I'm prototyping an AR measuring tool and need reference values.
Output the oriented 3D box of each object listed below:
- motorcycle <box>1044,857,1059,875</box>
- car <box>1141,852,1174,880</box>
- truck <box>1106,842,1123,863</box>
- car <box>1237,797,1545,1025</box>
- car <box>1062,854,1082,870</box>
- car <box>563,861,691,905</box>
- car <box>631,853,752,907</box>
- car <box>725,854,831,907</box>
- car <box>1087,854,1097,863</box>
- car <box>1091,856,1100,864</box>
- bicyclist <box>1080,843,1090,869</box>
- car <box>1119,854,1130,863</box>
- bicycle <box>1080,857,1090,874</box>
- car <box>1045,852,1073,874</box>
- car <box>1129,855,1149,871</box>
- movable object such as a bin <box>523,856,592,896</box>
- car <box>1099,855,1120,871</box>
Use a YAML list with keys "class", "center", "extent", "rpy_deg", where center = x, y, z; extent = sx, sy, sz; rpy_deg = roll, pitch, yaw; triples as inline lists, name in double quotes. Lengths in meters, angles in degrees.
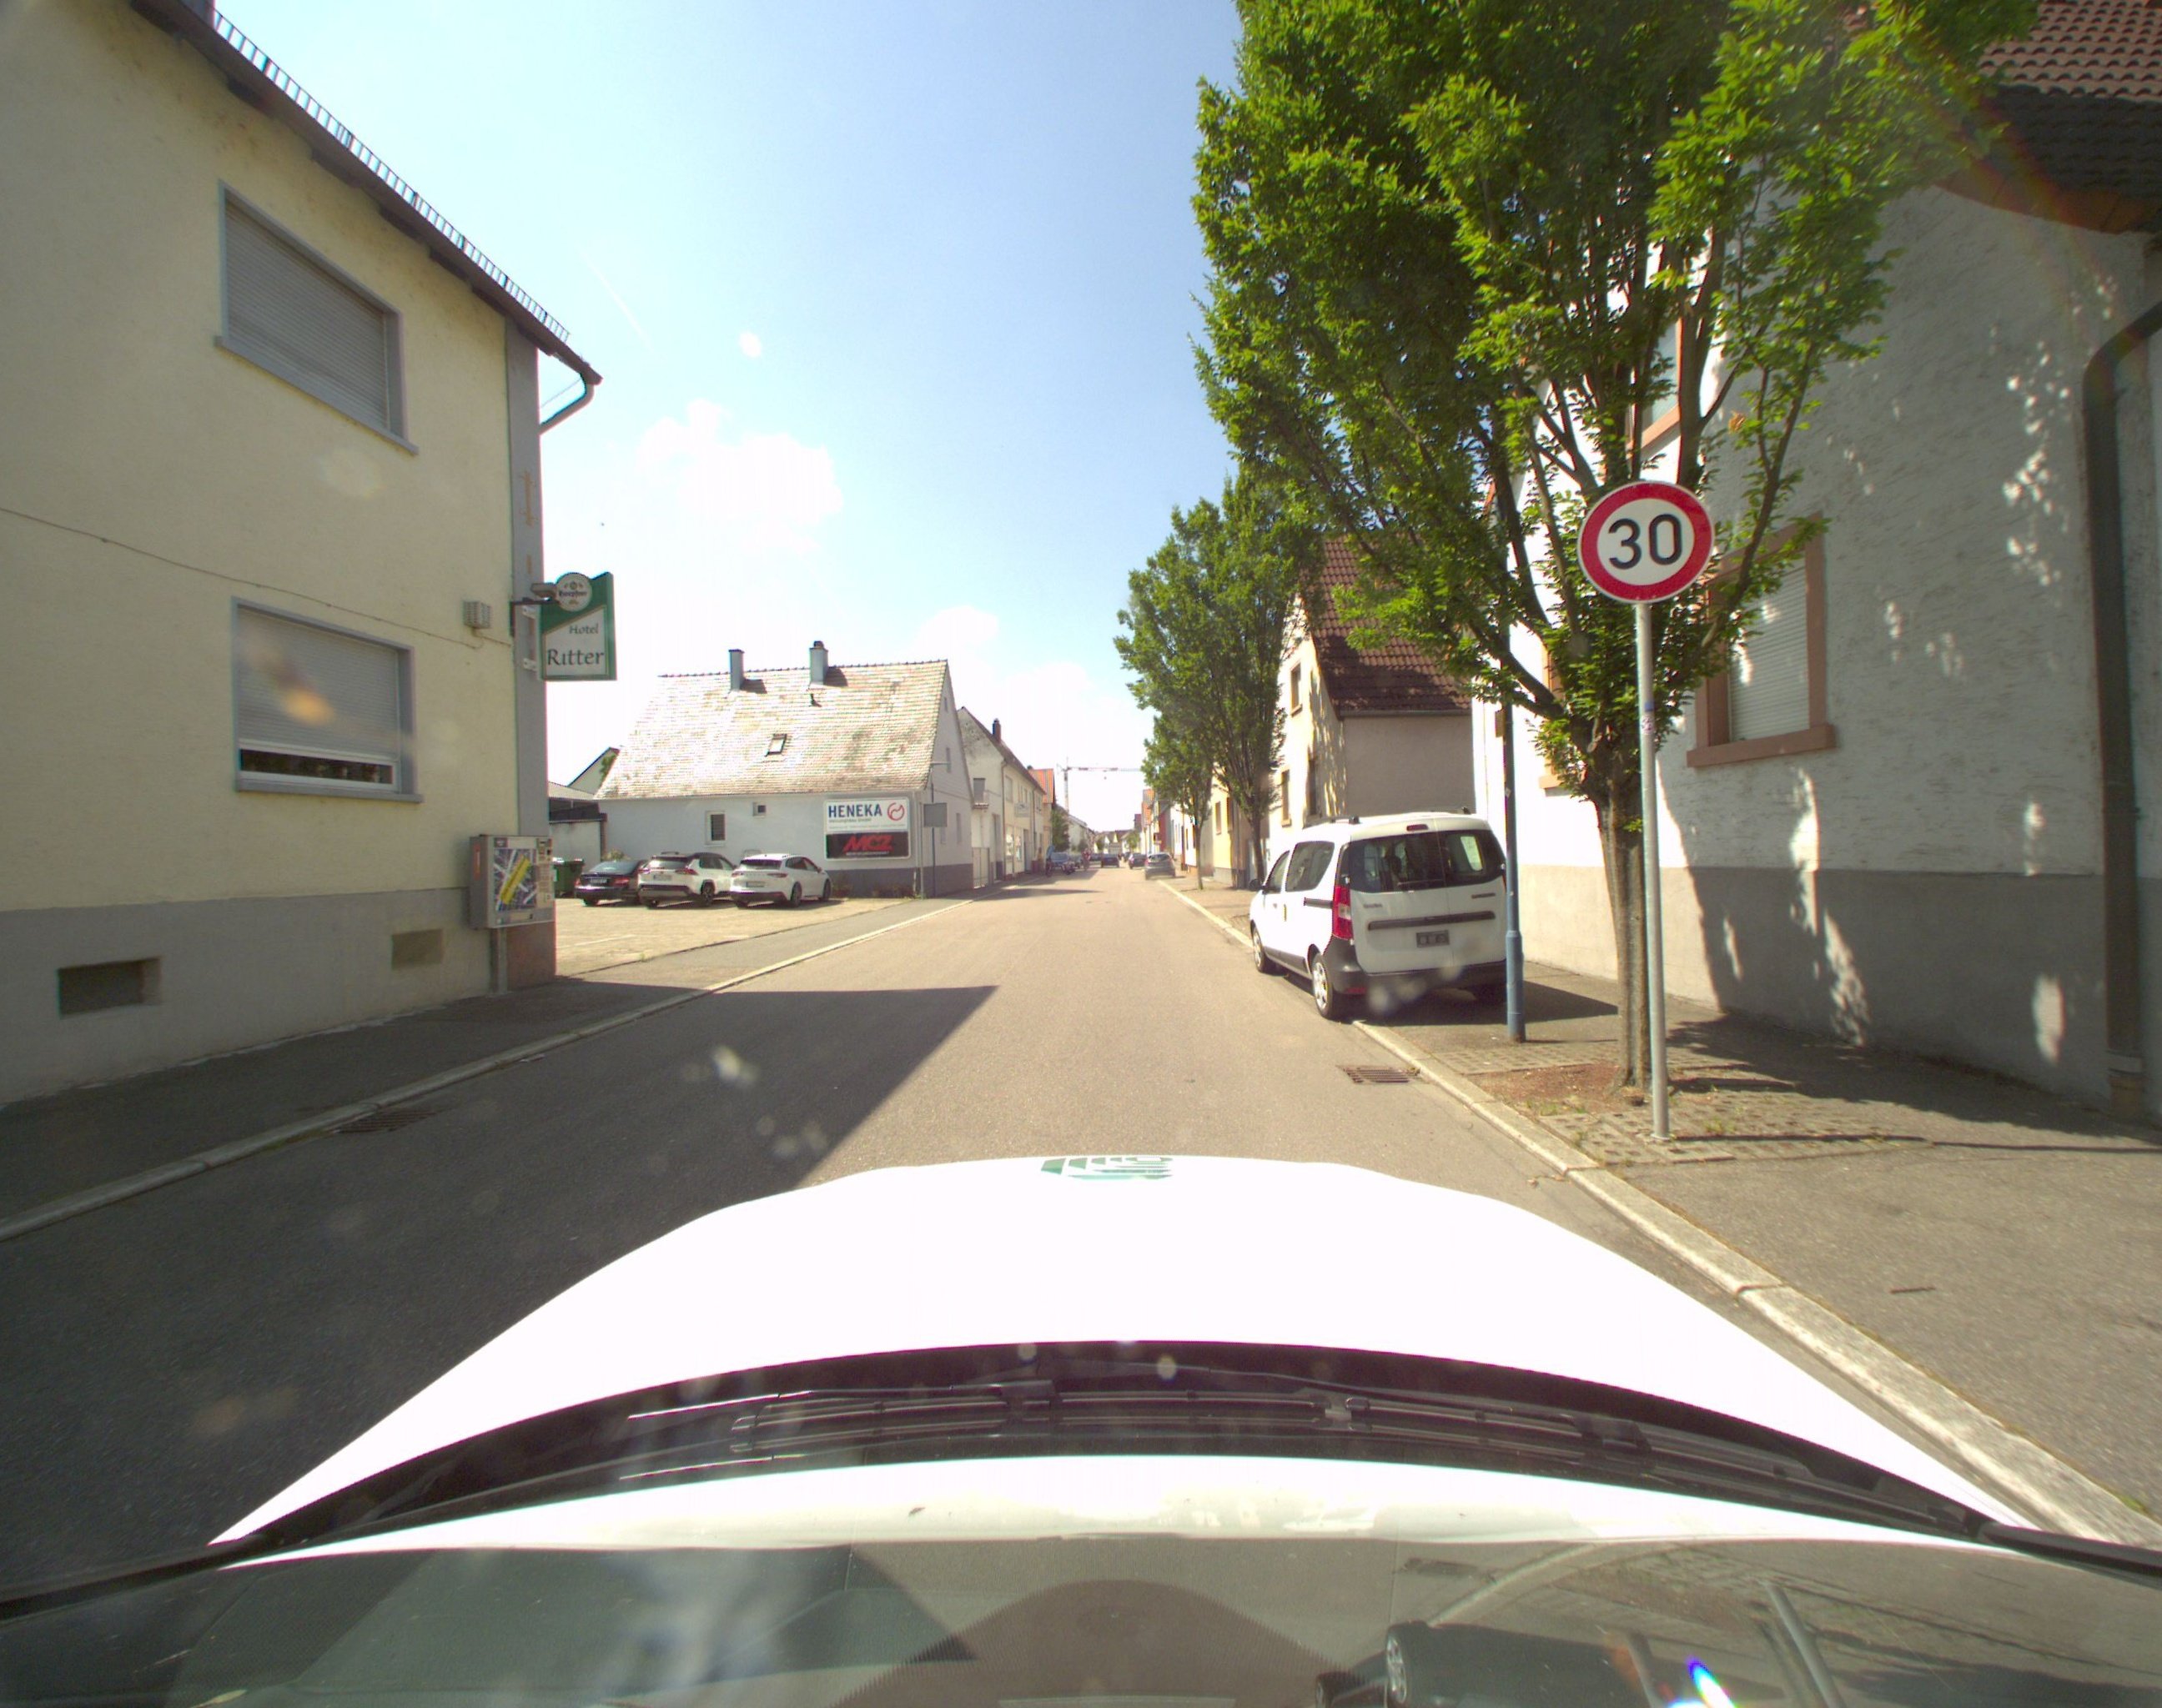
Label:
- class: "motorcycle"
  center: [-2.019, 0.830, 56.176]
  extent: [0.843, 1.170, 2.469]
  rpy_deg: [0, -1, 1]
- class: "car"
  center: [4.253, 0.628, 45.525]
  extent: [1.712, 1.461, 4.161]
  rpy_deg: [-1, 0, 4]
- class: "truck"
  center: [6.851, -0.277, 164.747]
  extent: [3.131, 4.250, 9.310]
  rpy_deg: [0, -1, 4]
- class: "car"
  center: [2.951, 0.467, 8.787]
  extent: [1.714, 1.790, 4.144]
  rpy_deg: [-3, 0, 1]
- class: "car"
  center: [-0.918, 0.841, 84.979]
  extent: [1.802, 1.589, 4.001]
  rpy_deg: [-1, 0, 2]
- class: "car"
  center: [-14.442, 0.878, 26.201]
  extent: [1.714, 1.281, 4.199]
  rpy_deg: [0, 0, 1]
- class: "car"
  center: [-12.034, 0.747, 25.501]
  extent: [1.714, 1.556, 4.199]
  rpy_deg: [0, 0, 1]
- class: "car"
  center: [-9.400, 0.767, 25.657]
  extent: [1.714, 1.556, 4.199]
  rpy_deg: [0, 0, 1]
- class: "car"
  center: [2.155, 0.812, 155.029]
  extent: [1.802, 1.589, 4.002]
  rpy_deg: [-1, 0, 2]
- class: "car"
  center: [2.941, 1.236, 161.612]
  extent: [1.802, 1.589, 4.001]
  rpy_deg: [-1, 0, 2]
- class: "bicyclist"
  center: [0.310, 0.164, 64.848]
  extent: [0.737, 2.059, 0.844]
  rpy_deg: [0, -1, 1]
- class: "car"
  center: [6.566, 0.694, 122.955]
  extent: [1.713, 1.268, 4.159]
  rpy_deg: [-1, 0, 2]
- class: "bicycle"
  center: [0.314, 0.902, 64.755]
  extent: [0.748, 1.308, 2.686]
  rpy_deg: [0, -1, 2]
- class: "car"
  center: [-1.571, 0.641, 59.943]
  extent: [1.802, 1.589, 4.001]
  rpy_deg: [-1, 0, 2]
- class: "car"
  center: [5.230, 0.785, 73.686]
  extent: [1.713, 1.355, 4.159]
  rpy_deg: [-1, 0, 2]
- class: "movable object such as a bin"
  center: [-18.361, 0.756, 28.624]
  extent: [1.368, 1.324, 1.565]
  rpy_deg: [-1, 0, 3]
- class: "car"
  center: [2.901, 0.886, 82.206]
  extent: [1.894, 1.563, 4.480]
  rpy_deg: [-1, 0, 3]
